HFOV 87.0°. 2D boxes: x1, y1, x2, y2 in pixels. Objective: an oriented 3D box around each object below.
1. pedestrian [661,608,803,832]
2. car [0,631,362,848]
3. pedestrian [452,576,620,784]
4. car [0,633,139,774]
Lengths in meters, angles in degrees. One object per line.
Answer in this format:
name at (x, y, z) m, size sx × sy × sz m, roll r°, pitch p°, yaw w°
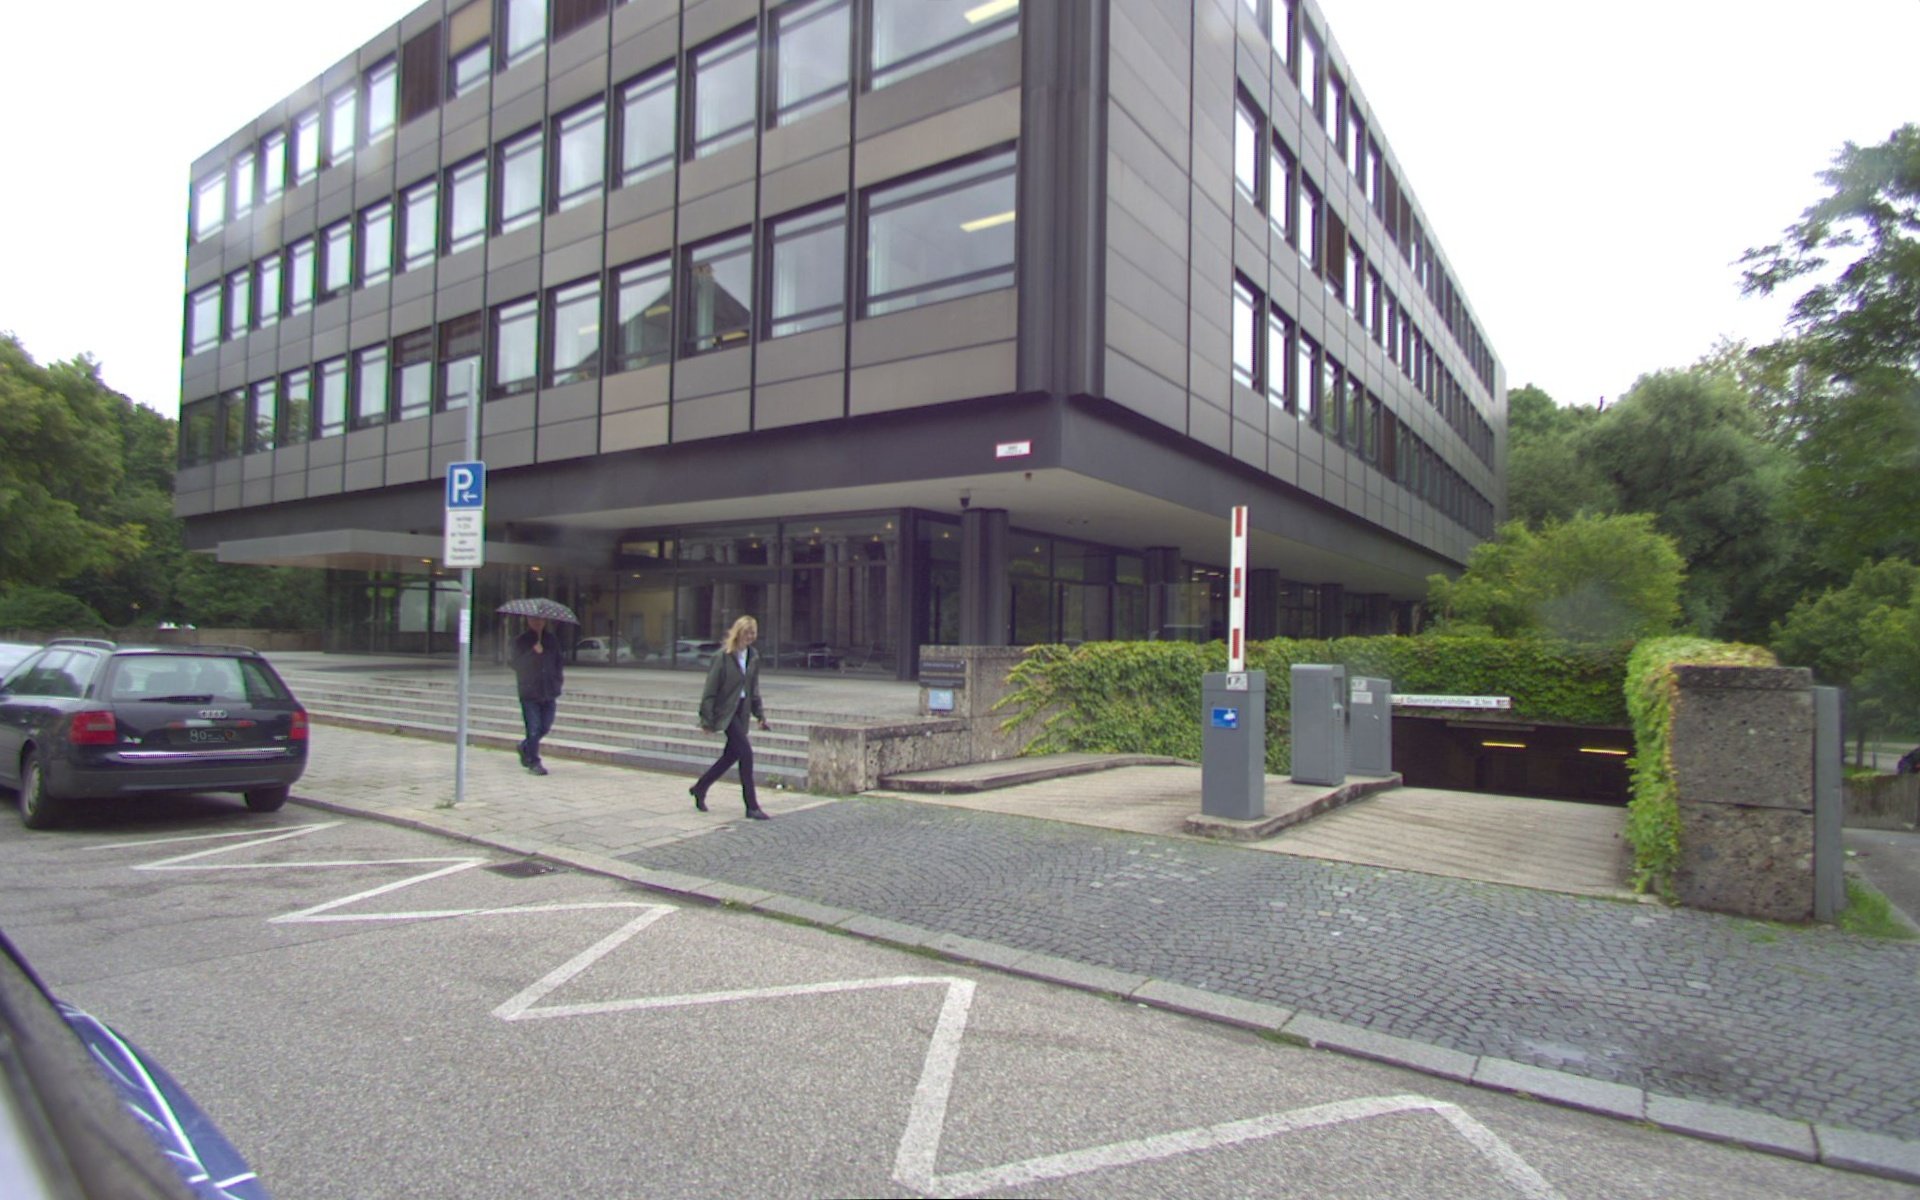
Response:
pedestrian at (-1.946, 0.961, 8.619) m, size 0.952 × 1.762 × 0.745 m, roll -1°, pitch 0°, yaw 41°
car at (-7.741, 1.070, 9.385) m, size 4.873 × 1.502 × 1.975 m, roll -1°, pitch -4°, yaw 36°
pedestrian at (-4.571, 0.833, 10.947) m, size 1.218 × 2.070 × 1.125 m, roll -1°, pitch -4°, yaw 34°
car at (-12.117, 1.136, 12.285) m, size 4.904 × 1.450 × 1.907 m, roll 0°, pitch -4°, yaw 34°
